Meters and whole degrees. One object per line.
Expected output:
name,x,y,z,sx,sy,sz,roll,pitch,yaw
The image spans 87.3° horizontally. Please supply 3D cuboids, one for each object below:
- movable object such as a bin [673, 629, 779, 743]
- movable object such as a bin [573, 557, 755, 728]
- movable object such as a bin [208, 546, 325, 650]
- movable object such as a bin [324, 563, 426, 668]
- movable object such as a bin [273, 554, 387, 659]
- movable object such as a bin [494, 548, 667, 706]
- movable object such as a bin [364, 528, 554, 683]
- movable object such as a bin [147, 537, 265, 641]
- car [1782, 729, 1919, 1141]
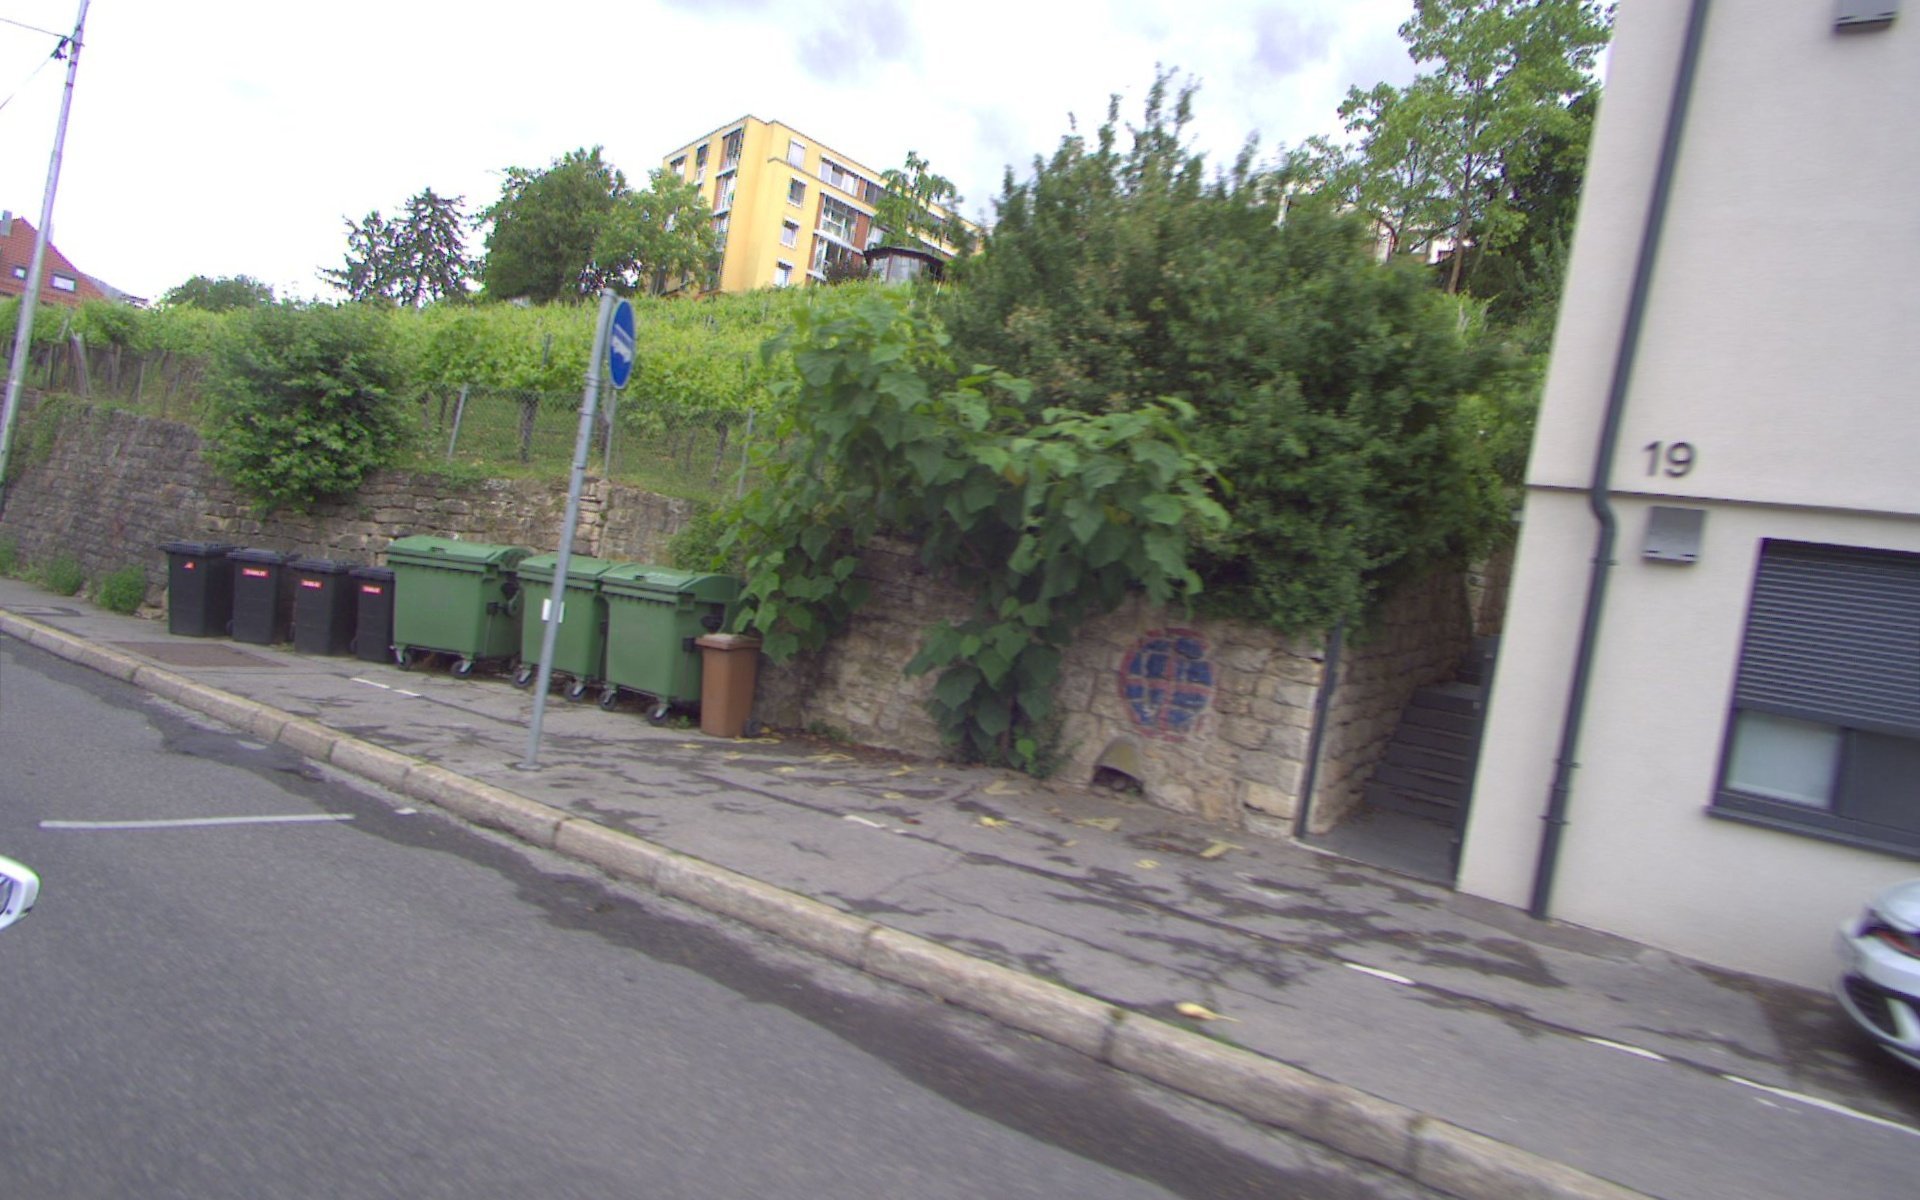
movable object such as a bin,-2.180,0.800,9.396,0.629,0.953,0.595,7,0,32
movable object such as a bin,-2.909,0.419,9.921,1.185,1.462,1.049,7,0,32
movable object such as a bin,-7.919,-0.007,11.509,0.666,1.071,0.745,7,0,16
movable object such as a bin,-6.524,0.181,11.245,0.537,1.071,0.712,7,0,16
movable object such as a bin,-7.118,0.089,11.388,0.666,1.071,0.745,7,0,16
movable object such as a bin,-3.997,0.292,10.645,1.184,1.462,1.049,7,0,29
movable object such as a bin,-5.497,0.073,11.094,1.392,1.462,1.051,7,0,16
movable object such as a bin,-8.627,-0.109,11.531,0.666,1.071,0.745,7,0,16
car,5.595,1.561,3.493,3.941,1.441,1.794,8,1,35
